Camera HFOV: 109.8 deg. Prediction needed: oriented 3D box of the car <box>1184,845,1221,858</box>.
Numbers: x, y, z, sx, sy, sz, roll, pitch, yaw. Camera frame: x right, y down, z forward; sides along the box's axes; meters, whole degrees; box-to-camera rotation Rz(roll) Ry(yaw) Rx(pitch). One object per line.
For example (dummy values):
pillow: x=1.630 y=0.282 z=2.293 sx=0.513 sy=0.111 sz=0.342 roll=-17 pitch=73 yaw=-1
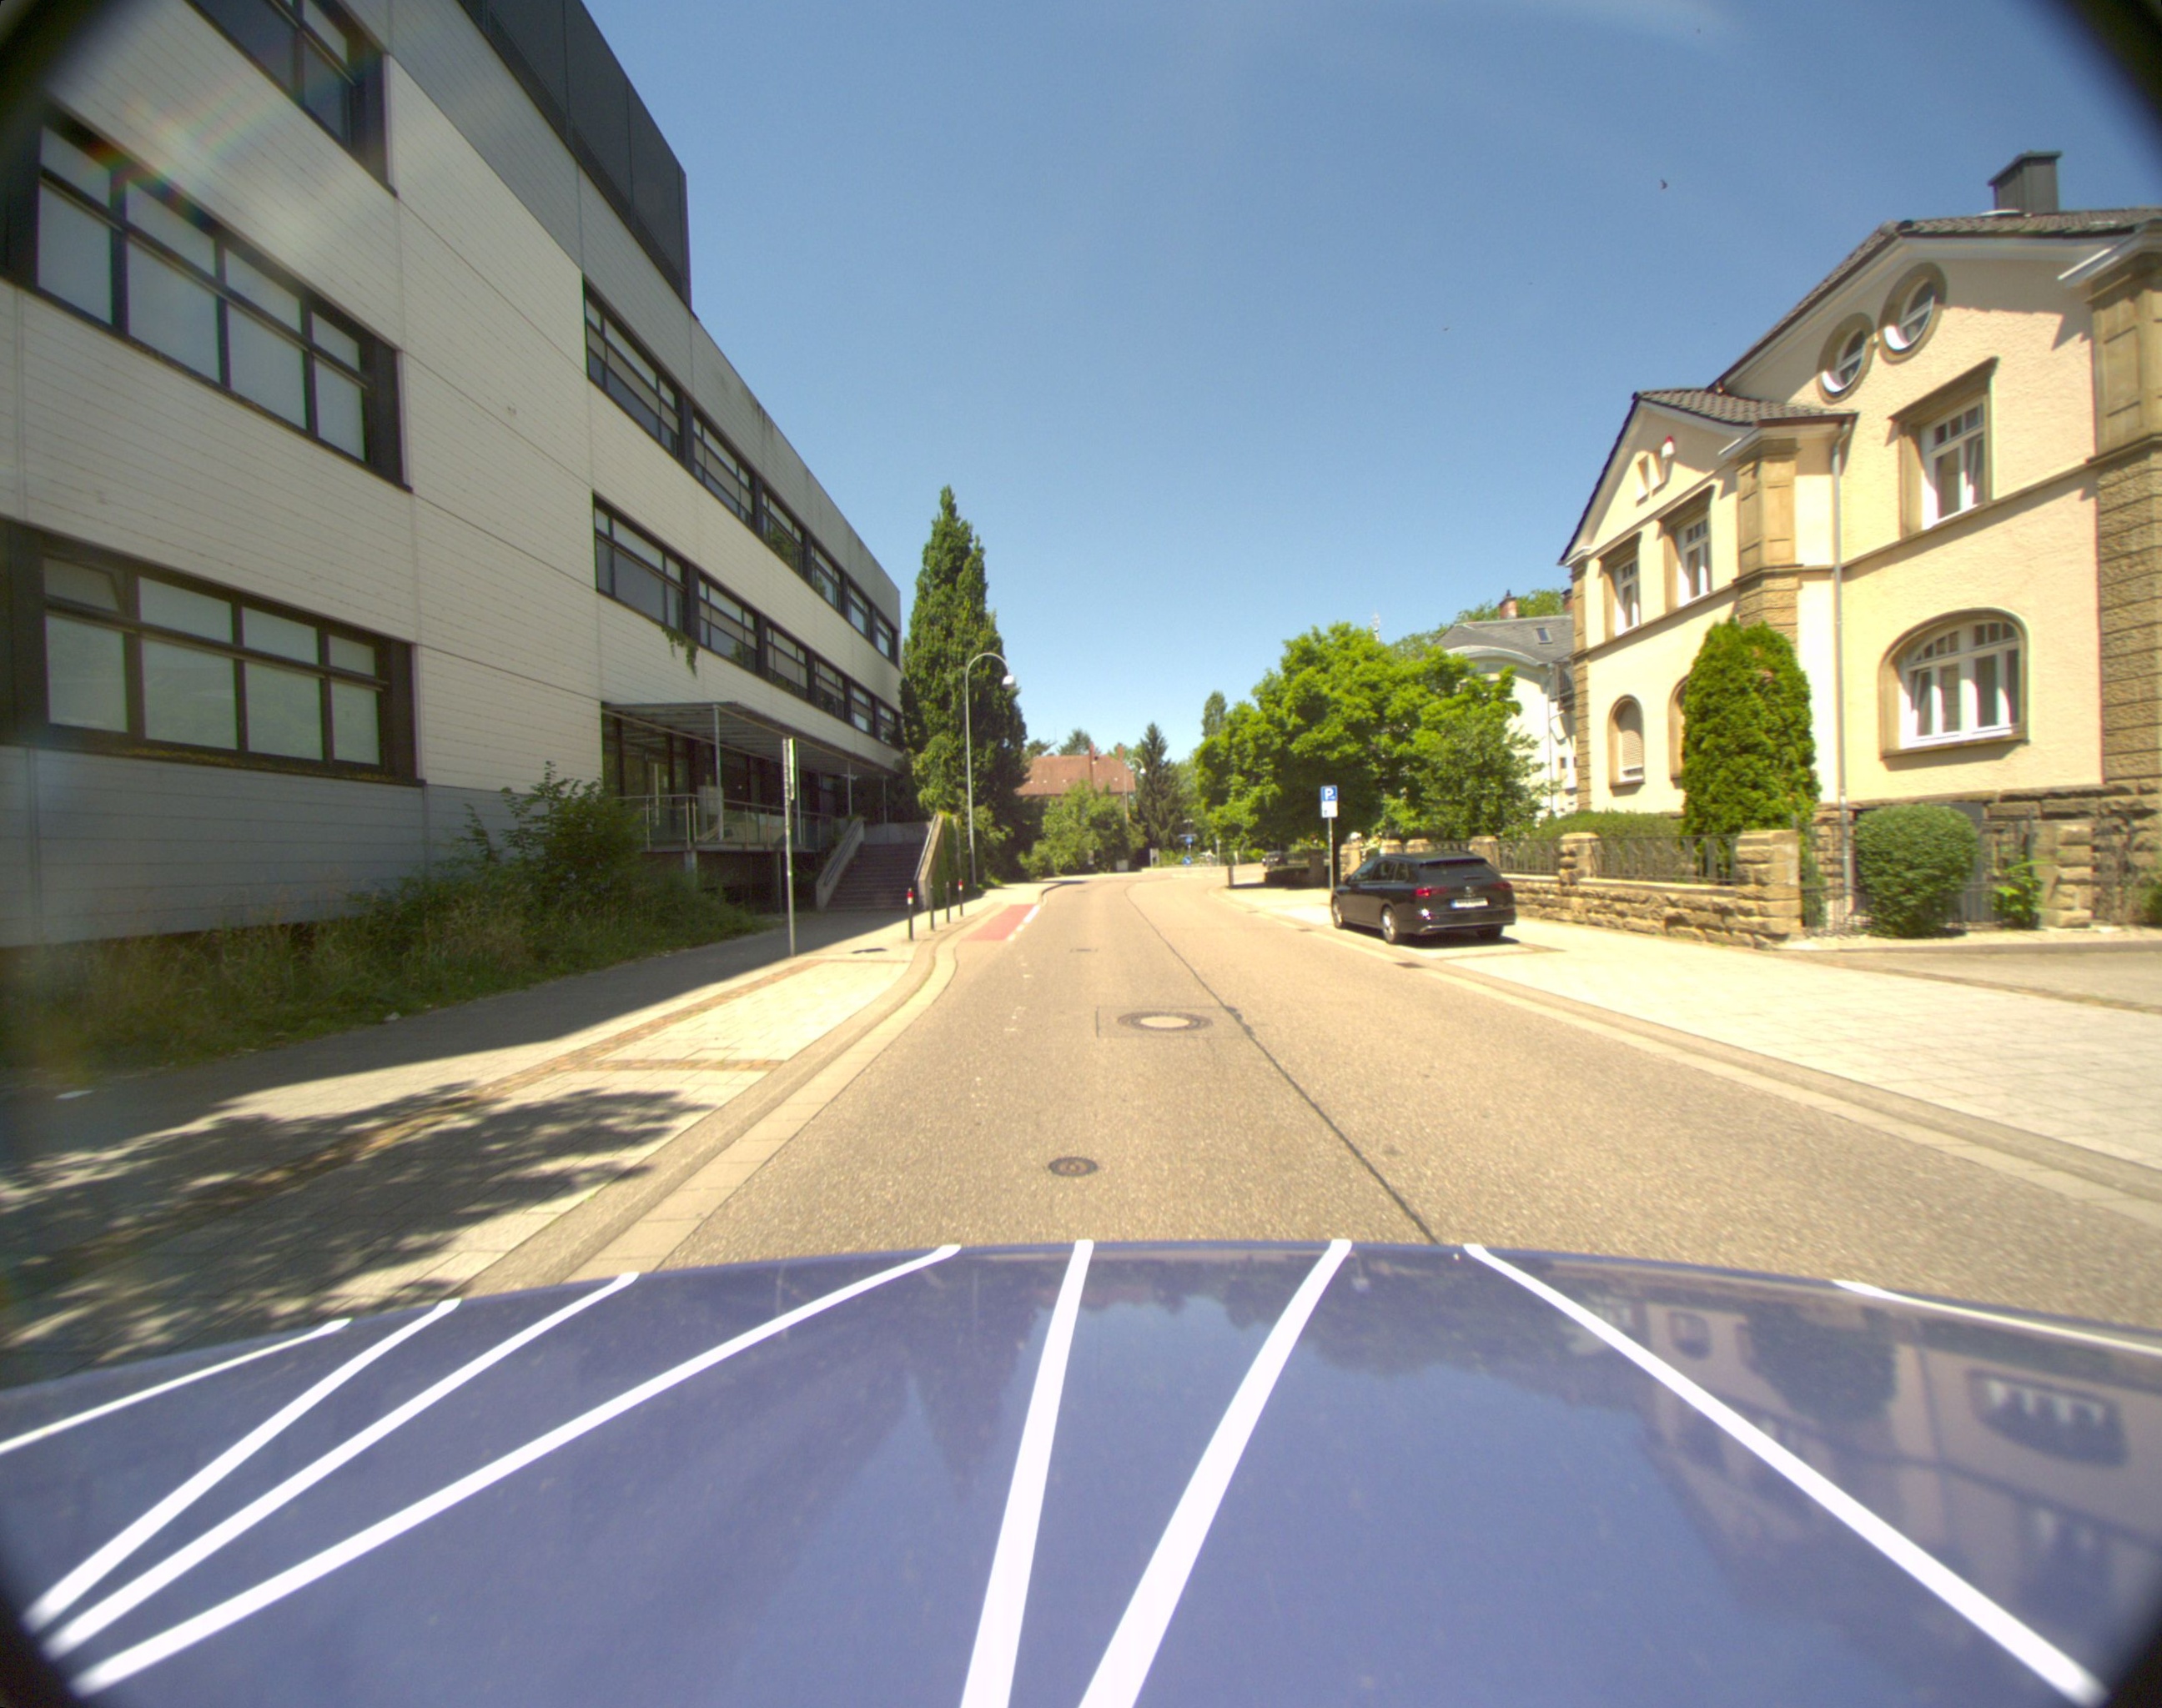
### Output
car: x=15.786 y=-0.350 z=98.497 sx=4.496 sy=1.491 sz=1.770 roll=-2 pitch=0 yaw=1

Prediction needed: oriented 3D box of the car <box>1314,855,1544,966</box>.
car: x=5.807 y=0.838 z=13.445 sx=1.930 sy=1.428 sz=4.659 roll=-5 pitch=0 yaw=1

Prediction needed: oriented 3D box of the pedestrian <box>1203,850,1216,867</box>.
pedestrian: x=13.336 y=0.443 z=78.659 sx=0.917 sy=1.762 sz=0.912 roll=-3 pitch=3 yaw=-40
